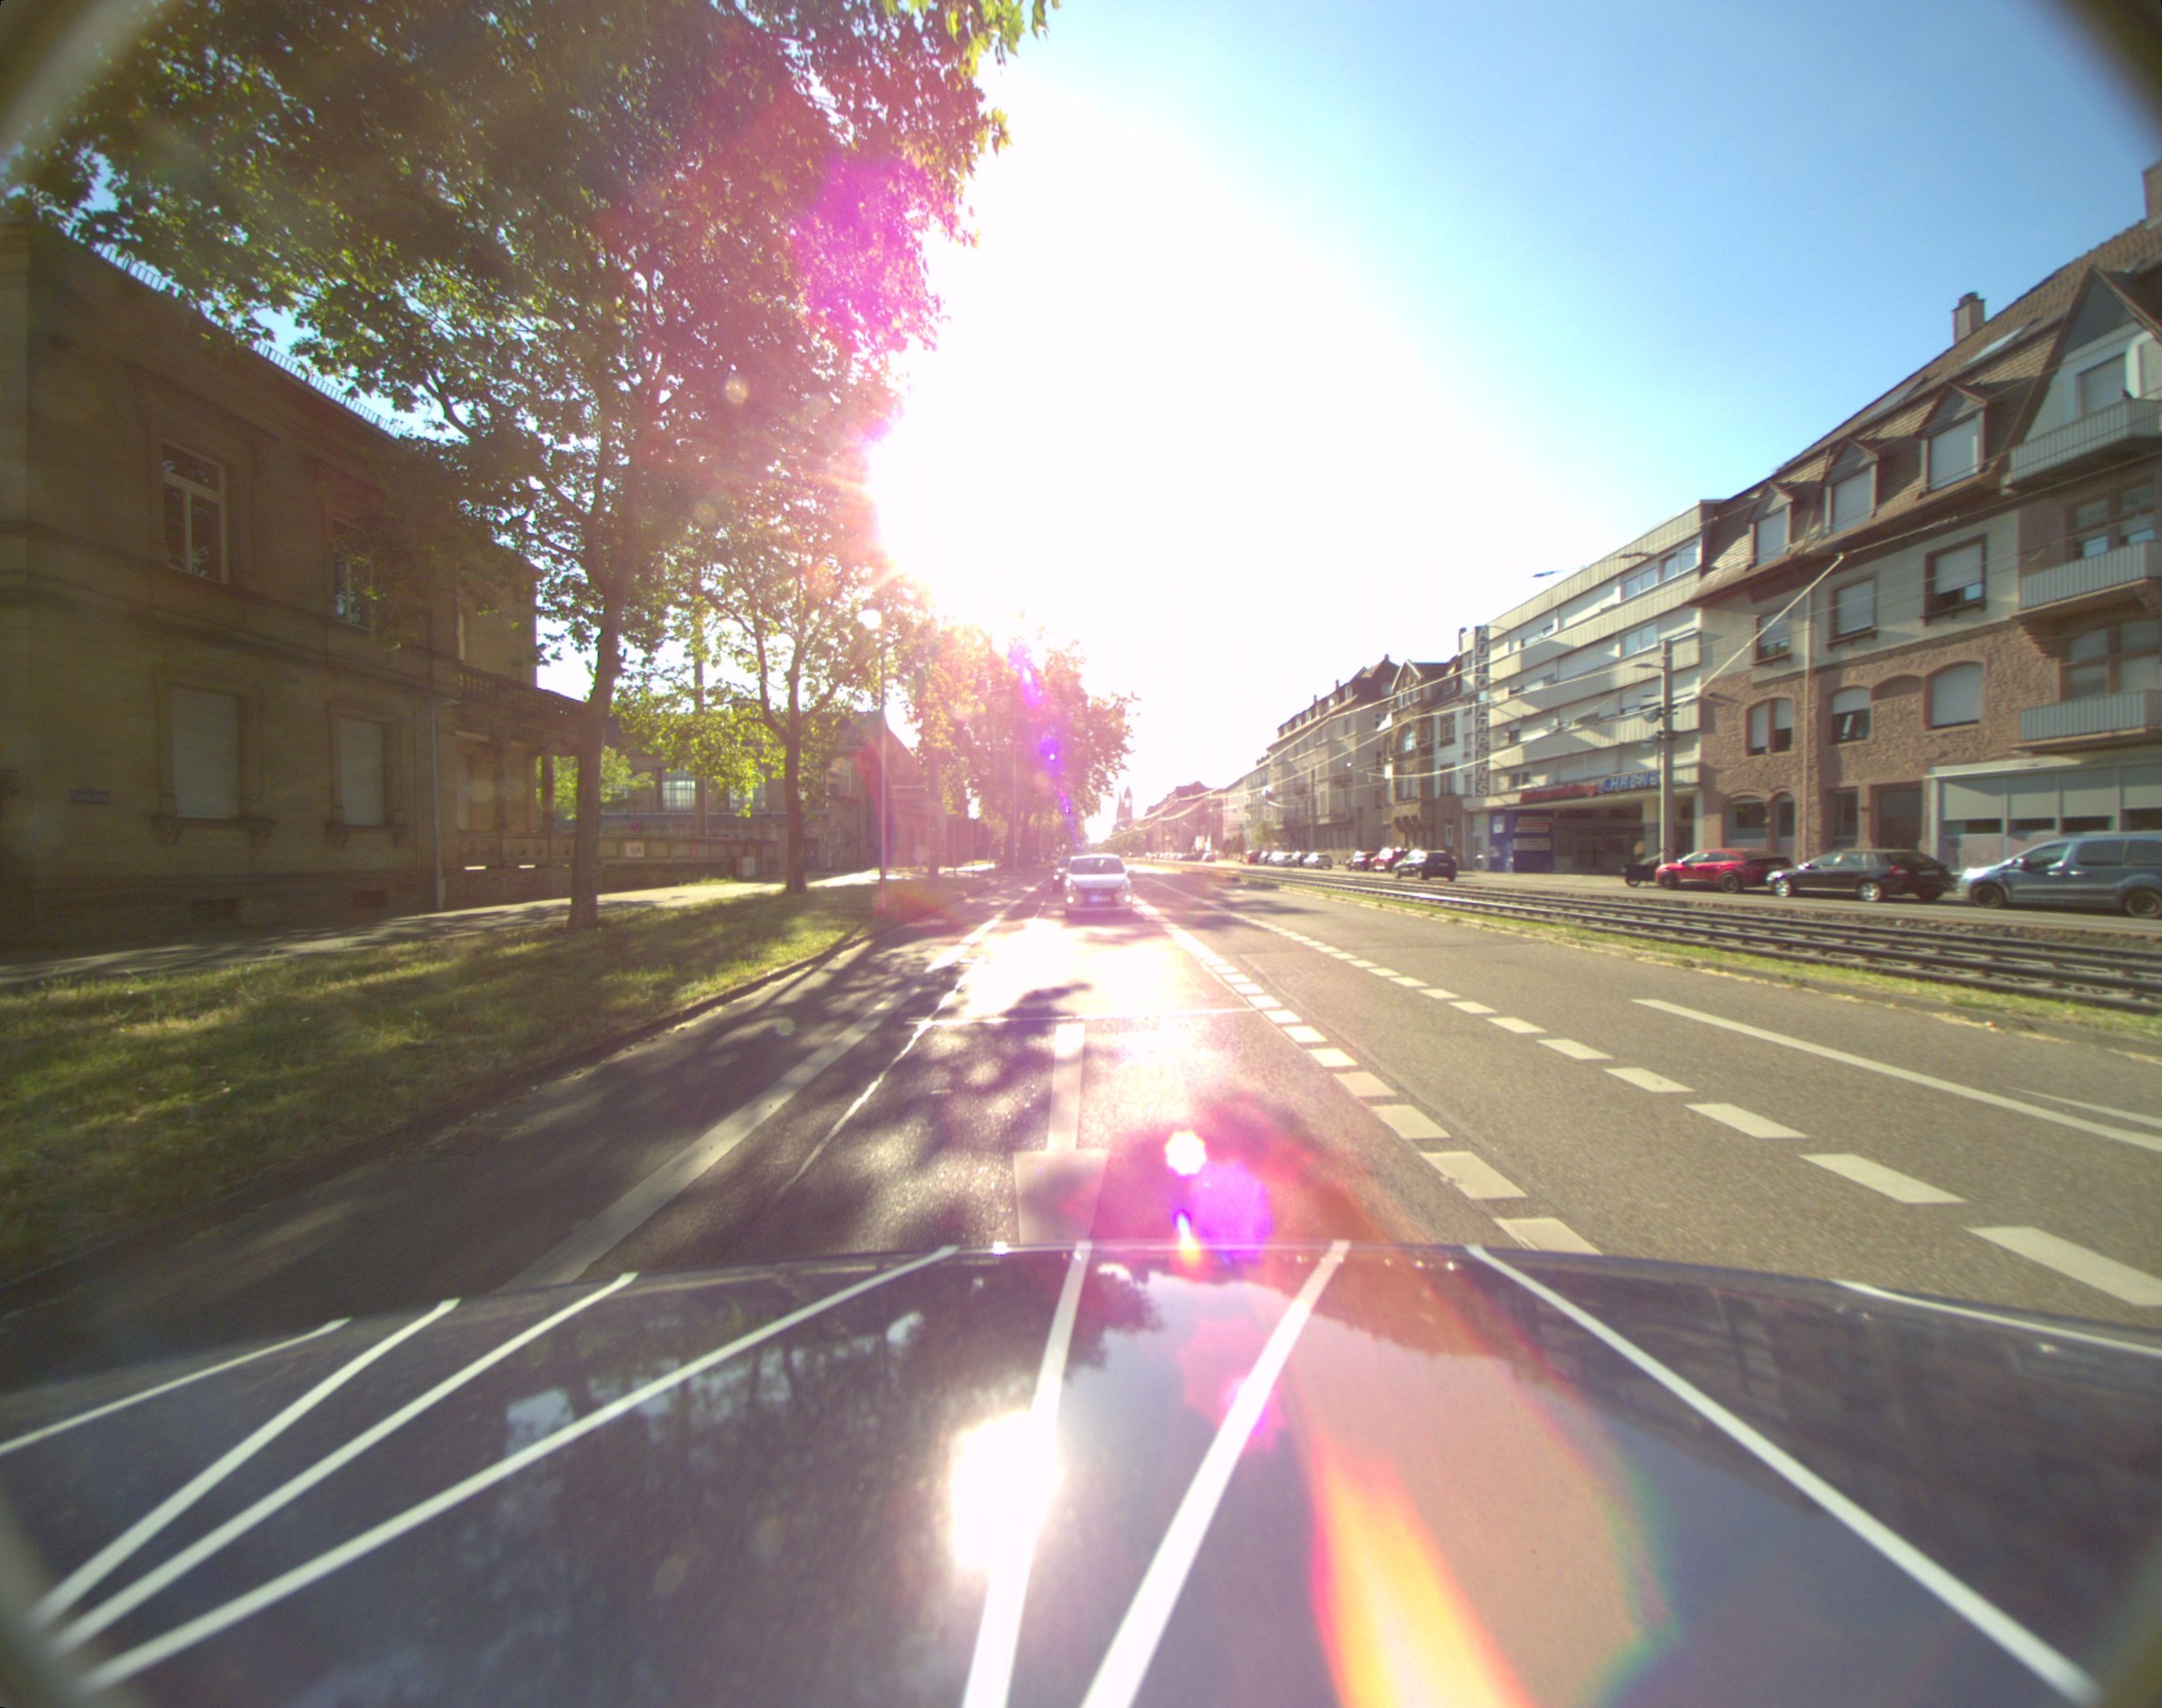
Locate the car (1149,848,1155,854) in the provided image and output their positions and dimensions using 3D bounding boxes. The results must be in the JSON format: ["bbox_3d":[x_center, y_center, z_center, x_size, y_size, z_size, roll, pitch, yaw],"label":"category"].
[{"bbox_3d":[20.816,-0.854,222.719,1.624,1.581,3.449,-2,1,0],"label":"car"}]

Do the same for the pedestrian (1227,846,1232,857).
[{"bbox_3d":[25.396,-0.420,129.889,0.725,1.779,0.677,0,1,-1],"label":"pedestrian"}]

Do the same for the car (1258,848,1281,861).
[{"bbox_3d":[22.776,0.068,92.141,1.802,1.471,3.822,-2,0,0],"label":"car"}]

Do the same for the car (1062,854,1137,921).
[{"bbox_3d":[0.431,0.770,19.494,1.686,1.462,4.054,-2,0,0],"label":"car"}]

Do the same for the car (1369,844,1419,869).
[{"bbox_3d":[22.485,0.168,54.708,1.860,1.677,4.263,-2,0,0],"label":"car"}]

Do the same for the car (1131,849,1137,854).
[{"bbox_3d":[18.157,-0.830,261.101,1.822,1.674,4.000,0,0,0],"label":"car"}]

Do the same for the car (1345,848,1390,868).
[{"bbox_3d":[22.501,0.291,59.828,1.756,1.487,3.728,-2,0,-6],"label":"car"}]

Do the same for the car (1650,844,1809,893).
[{"bbox_3d":[22.558,0.461,26.687,1.861,1.490,4.209,-3,0,-1],"label":"car"}]

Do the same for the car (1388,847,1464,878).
[{"bbox_3d":[17.134,0.399,37.917,1.825,1.448,4.165,0,1,-1],"label":"car"}]

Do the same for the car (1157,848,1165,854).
[{"bbox_3d":[21.498,-0.747,204.483,1.624,1.581,3.449,-2,1,0],"label":"car"}]

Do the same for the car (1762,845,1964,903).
[{"bbox_3d":[22.329,0.529,21.954,1.699,1.429,3.927,-3,0,-1],"label":"car"}]

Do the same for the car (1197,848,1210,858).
[{"bbox_3d":[21.717,-0.166,134.254,1.684,1.562,3.388,-2,1,0],"label":"car"}]

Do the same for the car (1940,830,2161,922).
[{"bbox_3d":[22.368,0.404,16.742,1.890,1.748,4.418,-3,0,2],"label":"car"}]

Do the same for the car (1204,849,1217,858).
[{"bbox_3d":[22.056,-0.112,129.504,1.684,1.562,3.388,-2,1,0],"label":"car"}]

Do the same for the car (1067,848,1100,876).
[{"bbox_3d":[0.155,0.436,45.142,1.834,1.543,3.999,0,1,0],"label":"car"}]

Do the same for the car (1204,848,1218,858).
[{"bbox_3d":[21.304,-0.129,124.189,1.677,1.622,3.407,-2,0,0],"label":"car"}]

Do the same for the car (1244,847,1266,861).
[{"bbox_3d":[22.335,-0.050,97.517,1.876,1.726,3.915,-2,0,0],"label":"car"}]

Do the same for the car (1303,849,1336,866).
[{"bbox_3d":[22.483,0.292,71.751,1.802,1.471,3.822,-2,0,0],"label":"car"}]

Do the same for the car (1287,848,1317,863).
[{"bbox_3d":[22.411,0.164,77.051,1.802,1.422,3.822,-2,0,-2],"label":"car"}]

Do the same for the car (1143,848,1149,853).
[{"bbox_3d":[21.321,-1.252,249.871,1.624,1.581,3.449,-2,1,0],"label":"car"}]

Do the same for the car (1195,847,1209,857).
[{"bbox_3d":[22.240,-0.388,139.769,1.727,1.776,3.880,-2,1,0],"label":"car"}]

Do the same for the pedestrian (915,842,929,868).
[{"bbox_3d":[-10.354,0.082,49.553,0.672,1.652,0.874,1,1,1],"label":"pedestrian"}]

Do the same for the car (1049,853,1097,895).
[{"bbox_3d":[-0.292,0.708,29.719,1.686,1.462,4.054,-2,0,0],"label":"car"}]

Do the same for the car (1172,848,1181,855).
[{"bbox_3d":[21.281,-0.631,169.516,1.624,1.581,3.449,-2,1,0],"label":"car"}]

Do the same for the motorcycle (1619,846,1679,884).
[{"bbox_3d":[22.711,0.427,30.381,1.860,1.413,0.628,-3,0,0],"label":"motorcycle"}]

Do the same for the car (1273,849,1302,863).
[{"bbox_3d":[22.035,0.191,81.190,1.643,1.438,3.537,-2,0,-8],"label":"car"}]

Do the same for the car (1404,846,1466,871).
[{"bbox_3d":[22.767,0.268,49.090,1.861,1.490,4.381,-2,0,-1],"label":"car"}]

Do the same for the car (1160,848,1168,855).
[{"bbox_3d":[21.680,-0.692,199.569,1.624,1.581,3.449,-2,1,0],"label":"car"}]
